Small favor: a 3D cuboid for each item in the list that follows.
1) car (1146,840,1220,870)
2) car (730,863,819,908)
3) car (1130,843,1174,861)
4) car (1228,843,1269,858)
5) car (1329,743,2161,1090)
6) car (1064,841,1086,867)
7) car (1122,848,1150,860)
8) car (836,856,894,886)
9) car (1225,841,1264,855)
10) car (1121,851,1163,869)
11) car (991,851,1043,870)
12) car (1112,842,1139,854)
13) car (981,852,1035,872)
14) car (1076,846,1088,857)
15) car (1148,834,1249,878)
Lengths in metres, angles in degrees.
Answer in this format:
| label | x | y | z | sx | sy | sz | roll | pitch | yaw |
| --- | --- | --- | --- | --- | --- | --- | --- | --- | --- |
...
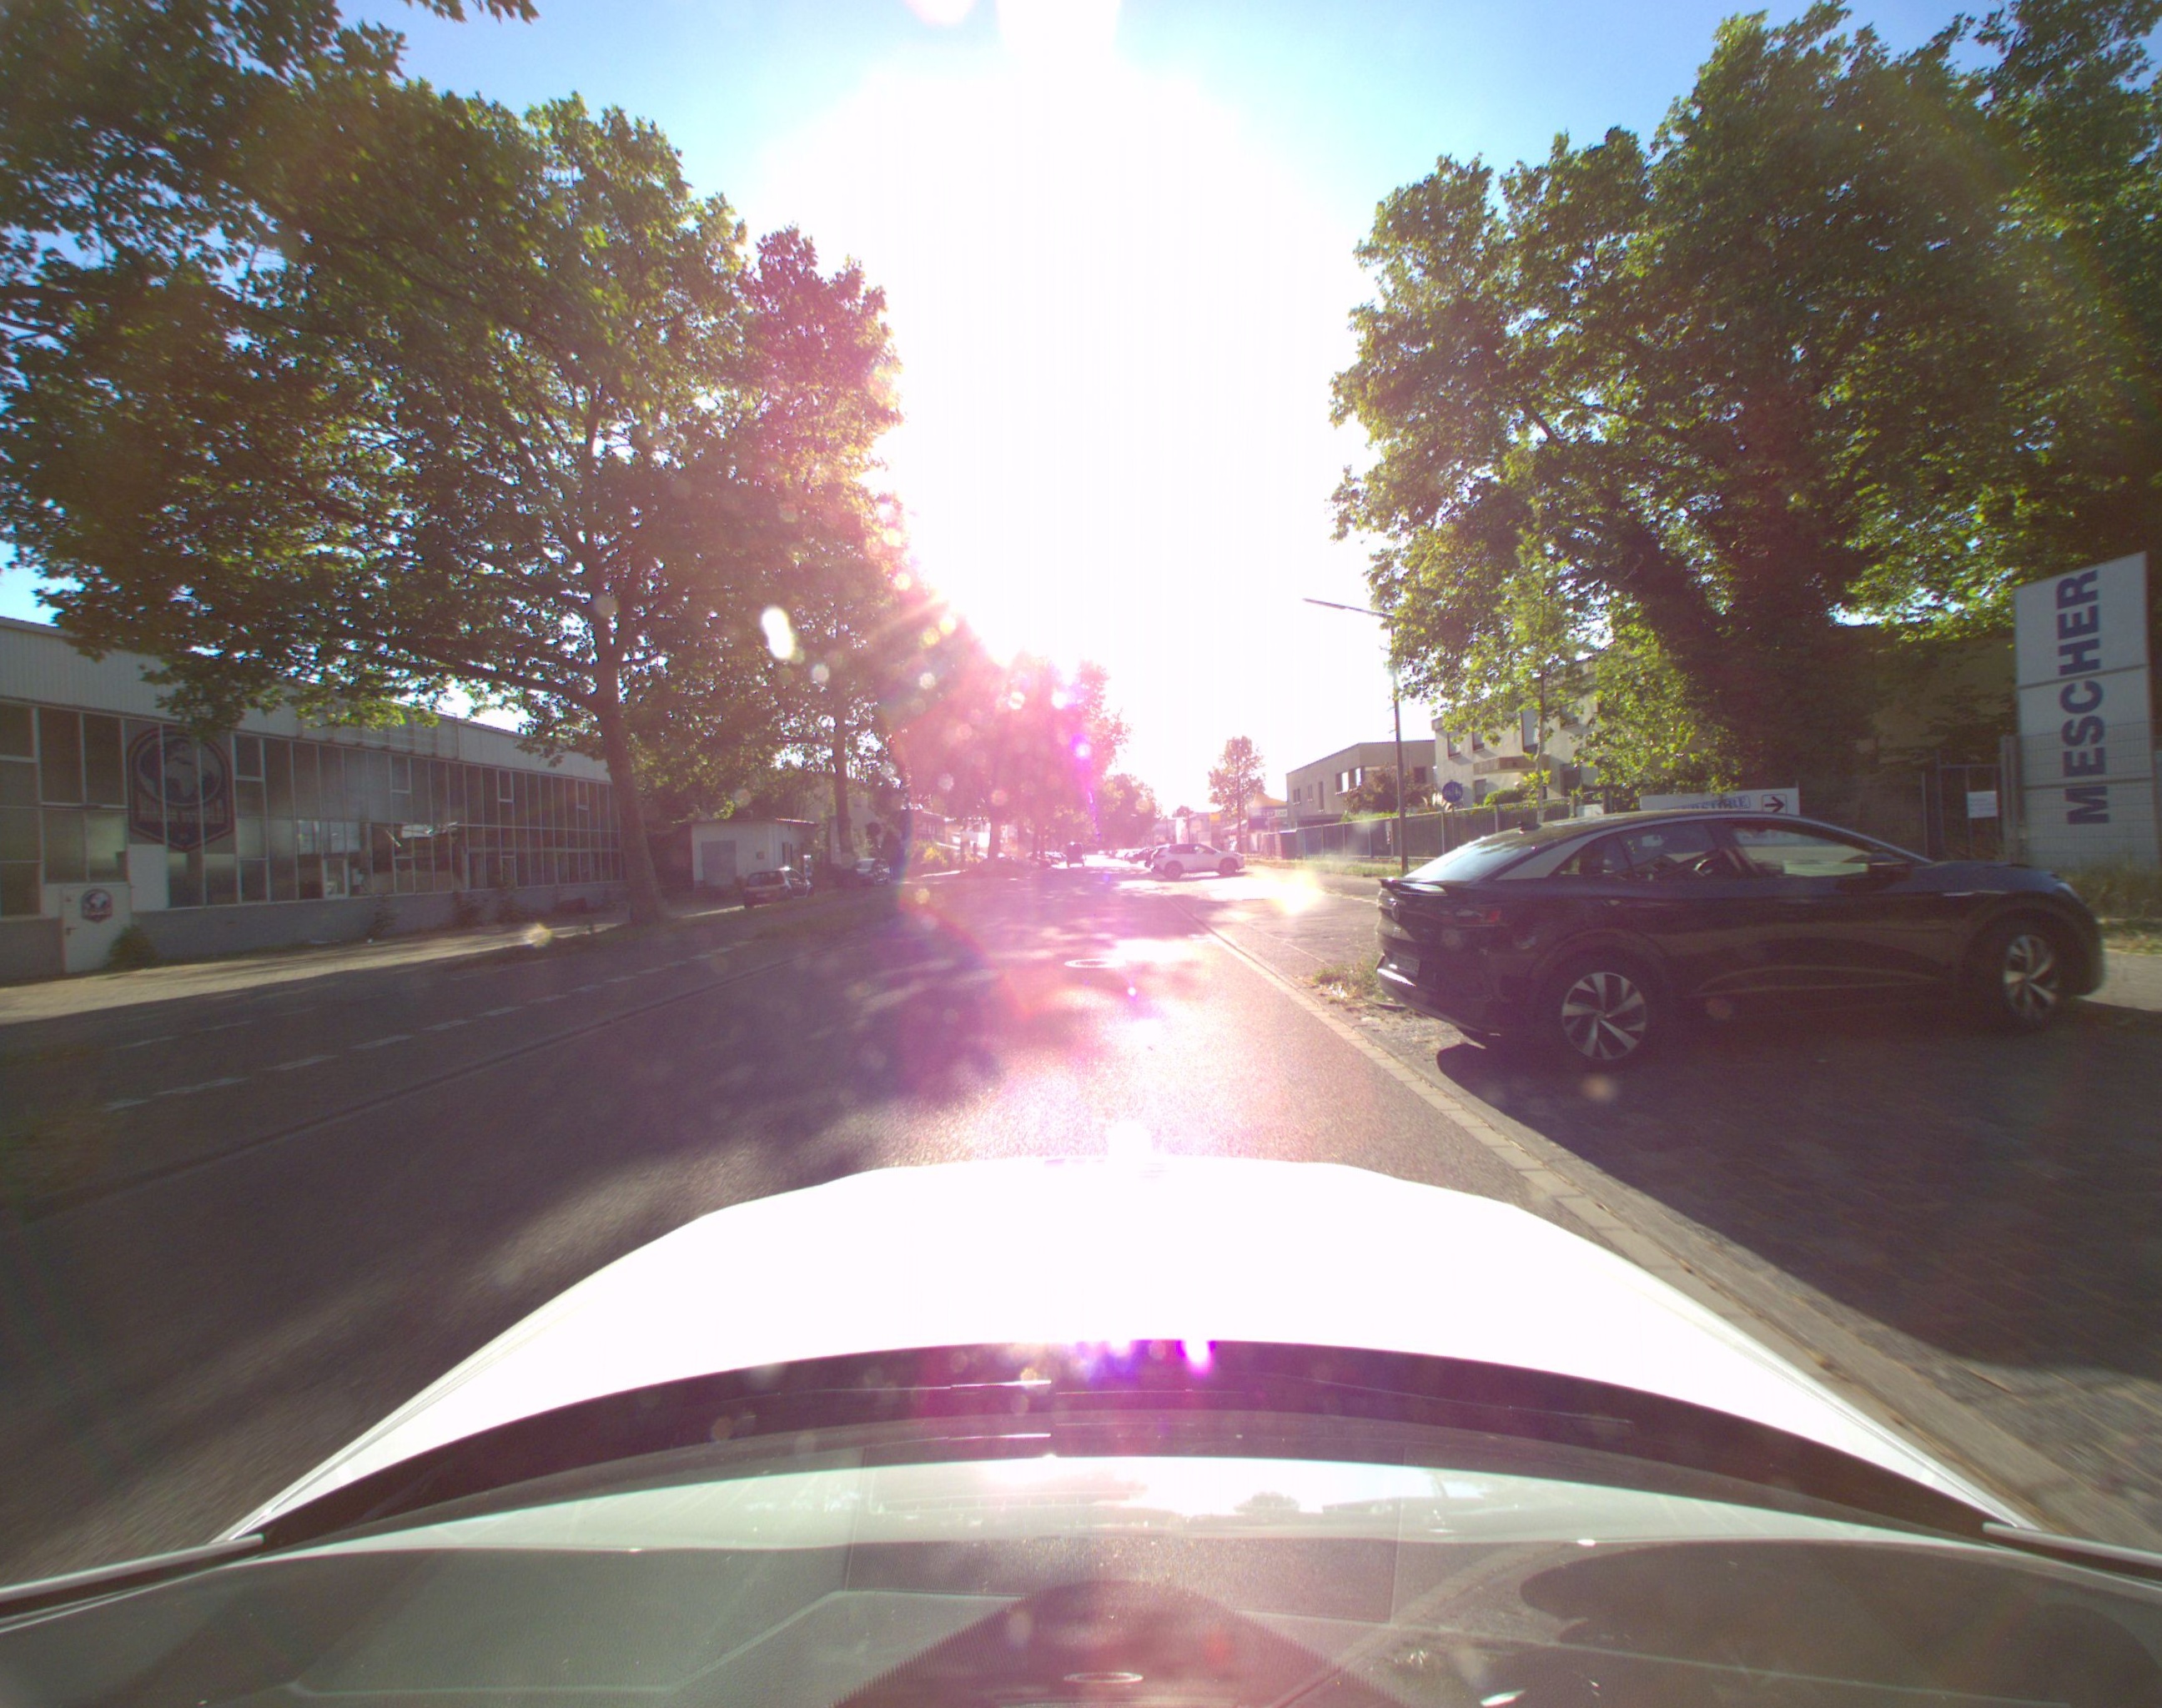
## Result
| label | x | y | z | sx | sy | sz | roll | pitch | yaw |
| --- | --- | --- | --- | --- | --- | --- | --- | --- | --- |
| car | 6.773 | 0.048 | 54.478 | 4.611 | 1.526 | 1.999 | -6 | 0 | -1 |
| car | -11.845 | 1.155 | 31.734 | 1.989 | 1.369 | 3.916 | -7 | 0 | -3 |
| car | 7.746 | -0.227 | 89.000 | 4.582 | 1.579 | 2.002 | -6 | 0 | 3 |
| car | 18.099 | -0.379 | 88.350 | 3.978 | 1.497 | 1.998 | -1 | 0 | -3 |
| car | 4.469 | 0.363 | 6.018 | 4.558 | 1.715 | 1.942 | -5 | 0 | -3 |
| car | -0.600 | -0.070 | 91.756 | 2.120 | 2.659 | 7.004 | -3 | 1 | 1 |
| car | 8.262 | 0.017 | 123.537 | 3.978 | 1.587 | 1.866 | -4 | 0 | -3 |
| car | -12.390 | 0.939 | 47.074 | 1.985 | 1.576 | 4.276 | -1 | 0 | 3 |
| car | 18.353 | -0.667 | 91.495 | 3.978 | 1.519 | 1.951 | -1 | 0 | -3 |
| car | 6.966 | 0.665 | 93.940 | 4.586 | 1.613 | 2.000 | -6 | 0 | 0 |
| car | -5.843 | 0.585 | 74.680 | 4.584 | 1.422 | 2.000 | -2 | 1 | 0 |
| car | 7.888 | -1.050 | 144.553 | 4.543 | 1.597 | 2.200 | -5 | 0 | -2 |
| car | -6.176 | 0.670 | 68.863 | 4.341 | 1.422 | 1.999 | -2 | 1 | -2 |
| car | 0.158 | -0.459 | 129.458 | 1.832 | 1.571 | 3.803 | -4 | 0 | 1 |
| car | 5.775 | 0.093 | 40.528 | 4.611 | 1.711 | 1.999 | -6 | 0 | -1 |
